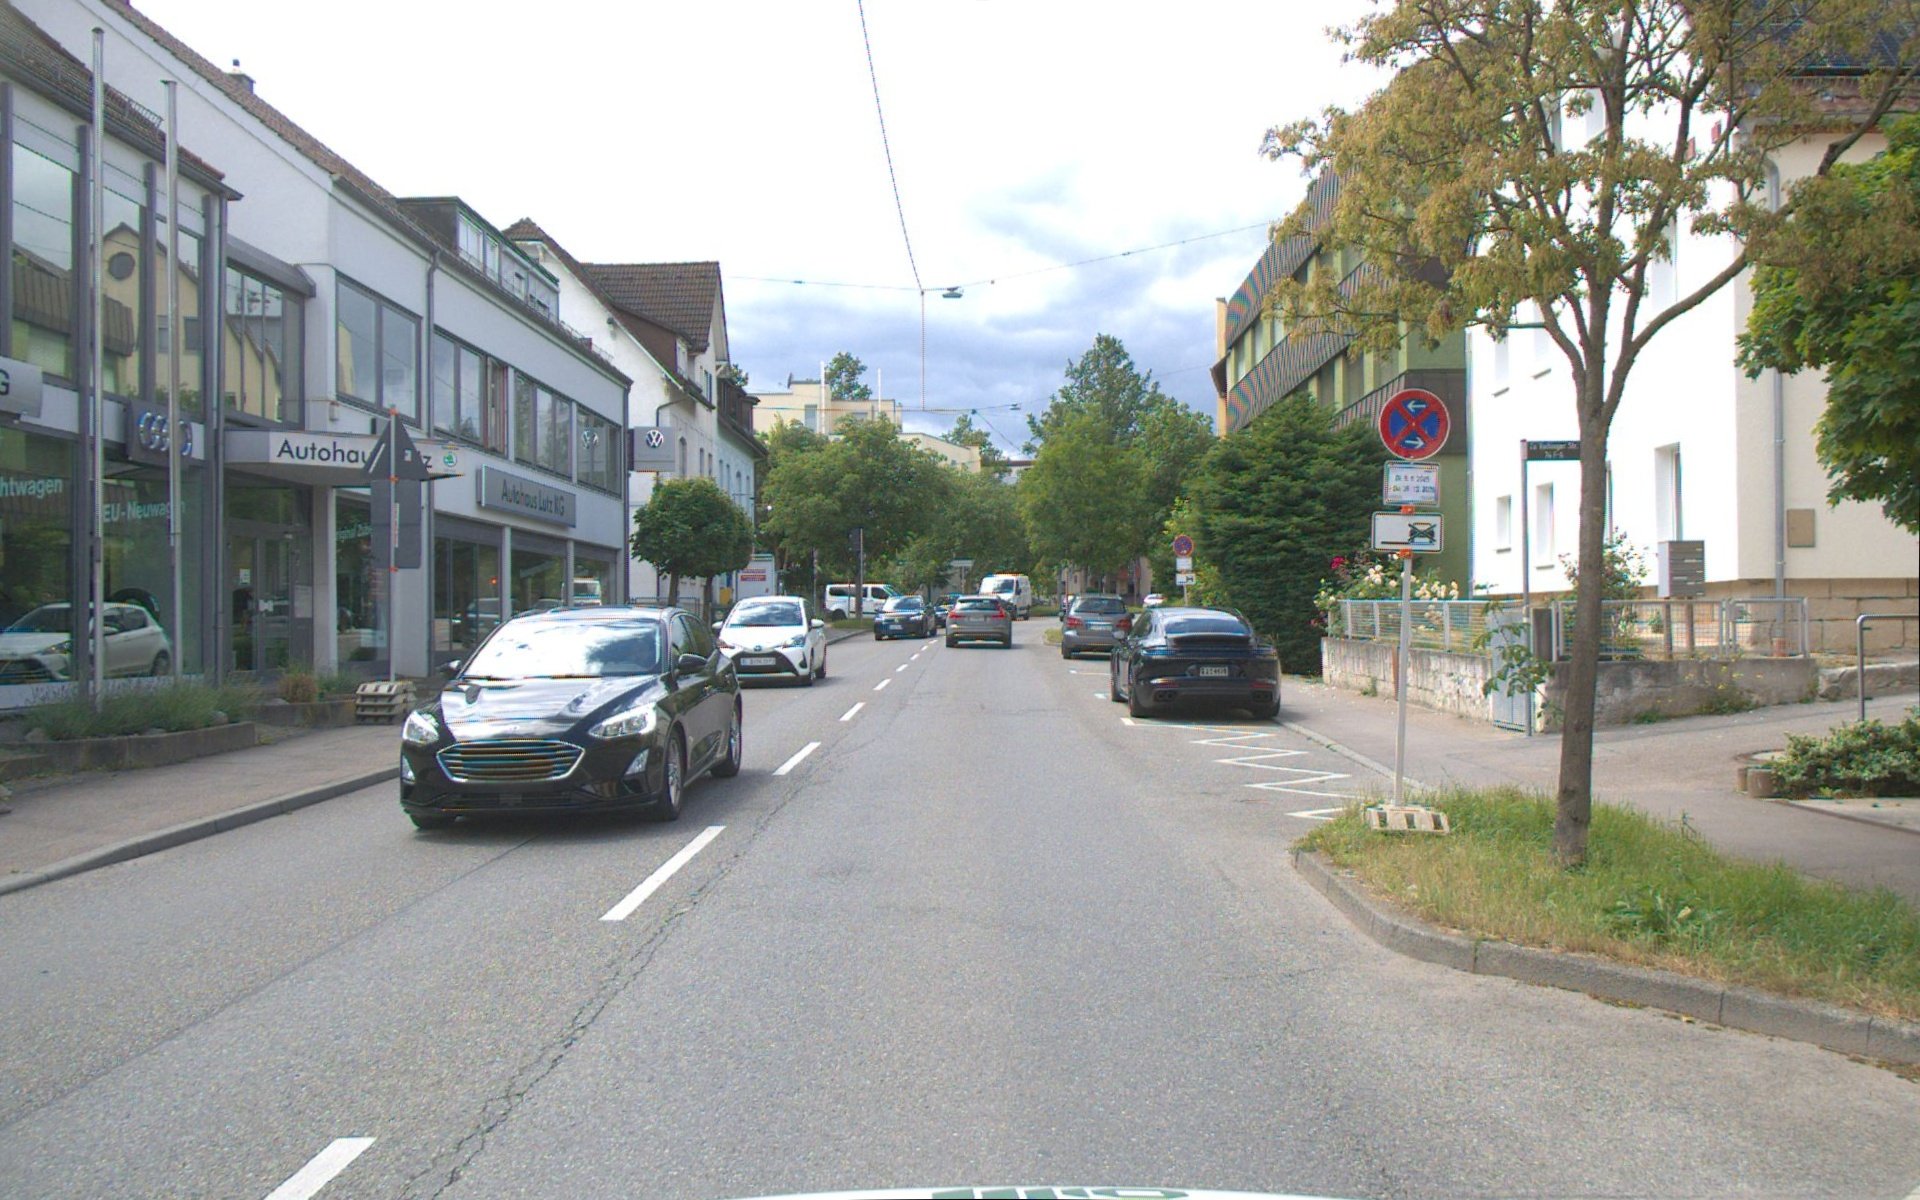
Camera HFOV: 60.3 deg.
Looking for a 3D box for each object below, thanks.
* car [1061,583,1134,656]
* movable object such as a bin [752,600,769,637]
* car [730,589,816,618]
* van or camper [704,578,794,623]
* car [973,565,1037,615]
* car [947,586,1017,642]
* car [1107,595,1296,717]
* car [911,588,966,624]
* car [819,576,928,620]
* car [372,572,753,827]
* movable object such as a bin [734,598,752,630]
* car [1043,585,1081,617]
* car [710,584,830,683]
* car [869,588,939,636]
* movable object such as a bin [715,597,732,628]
[{"bbox_3d":[3.441,0.436,41.949,1.654,1.695,4.464,-1,1,3],"label":"car"},{"bbox_3d":[-7.199,0.659,59.757,0.553,1.295,0.563,2,0,-3],"label":"movable object such as a bin"},{"bbox_3d":[-9.349,0.178,82.790,3.931,1.438,1.817,0,-1,13],"label":"car"},{"bbox_3d":[-9.959,0.053,78.403,1.755,2.028,4.362,-1,-1,36],"label":"van or camper"},{"bbox_3d":[2.378,-0.537,86.081,2.019,2.394,5.187,-3,0,15],"label":"car"},{"bbox_3d":[0.581,0.394,47.739,1.916,1.550,4.328,0,0,-1],"label":"car"},{"bbox_3d":[3.173,0.704,22.640,1.943,1.473,4.752,-1,-1,1],"label":"car"},{"bbox_3d":[-0.877,0.239,71.520,1.732,1.450,4.112,-2,0,8],"label":"car"},{"bbox_3d":[-4.430,-0.099,84.982,5.103,2.028,2.109,-2,0,18],"label":"car"},{"bbox_3d":[-2.708,0.632,12.277,1.793,1.550,4.170,-1,-1,0],"label":"car"},{"bbox_3d":[-7.830,0.499,59.680,0.553,1.120,0.563,2,-1,-3],"label":"movable object such as a bin"},{"bbox_3d":[5.096,0.062,83.115,1.582,1.550,3.568,-1,-1,-2],"label":"car"},{"bbox_3d":[-3.274,0.570,29.083,1.655,1.607,3.799,-1,-1,0],"label":"car"},{"bbox_3d":[-1.920,0.393,57.877,1.738,1.550,4.465,-2,0,7],"label":"car"},{"bbox_3d":[-8.520,0.452,59.610,0.553,1.120,0.563,2,-1,-3],"label":"movable object such as a bin"}]
